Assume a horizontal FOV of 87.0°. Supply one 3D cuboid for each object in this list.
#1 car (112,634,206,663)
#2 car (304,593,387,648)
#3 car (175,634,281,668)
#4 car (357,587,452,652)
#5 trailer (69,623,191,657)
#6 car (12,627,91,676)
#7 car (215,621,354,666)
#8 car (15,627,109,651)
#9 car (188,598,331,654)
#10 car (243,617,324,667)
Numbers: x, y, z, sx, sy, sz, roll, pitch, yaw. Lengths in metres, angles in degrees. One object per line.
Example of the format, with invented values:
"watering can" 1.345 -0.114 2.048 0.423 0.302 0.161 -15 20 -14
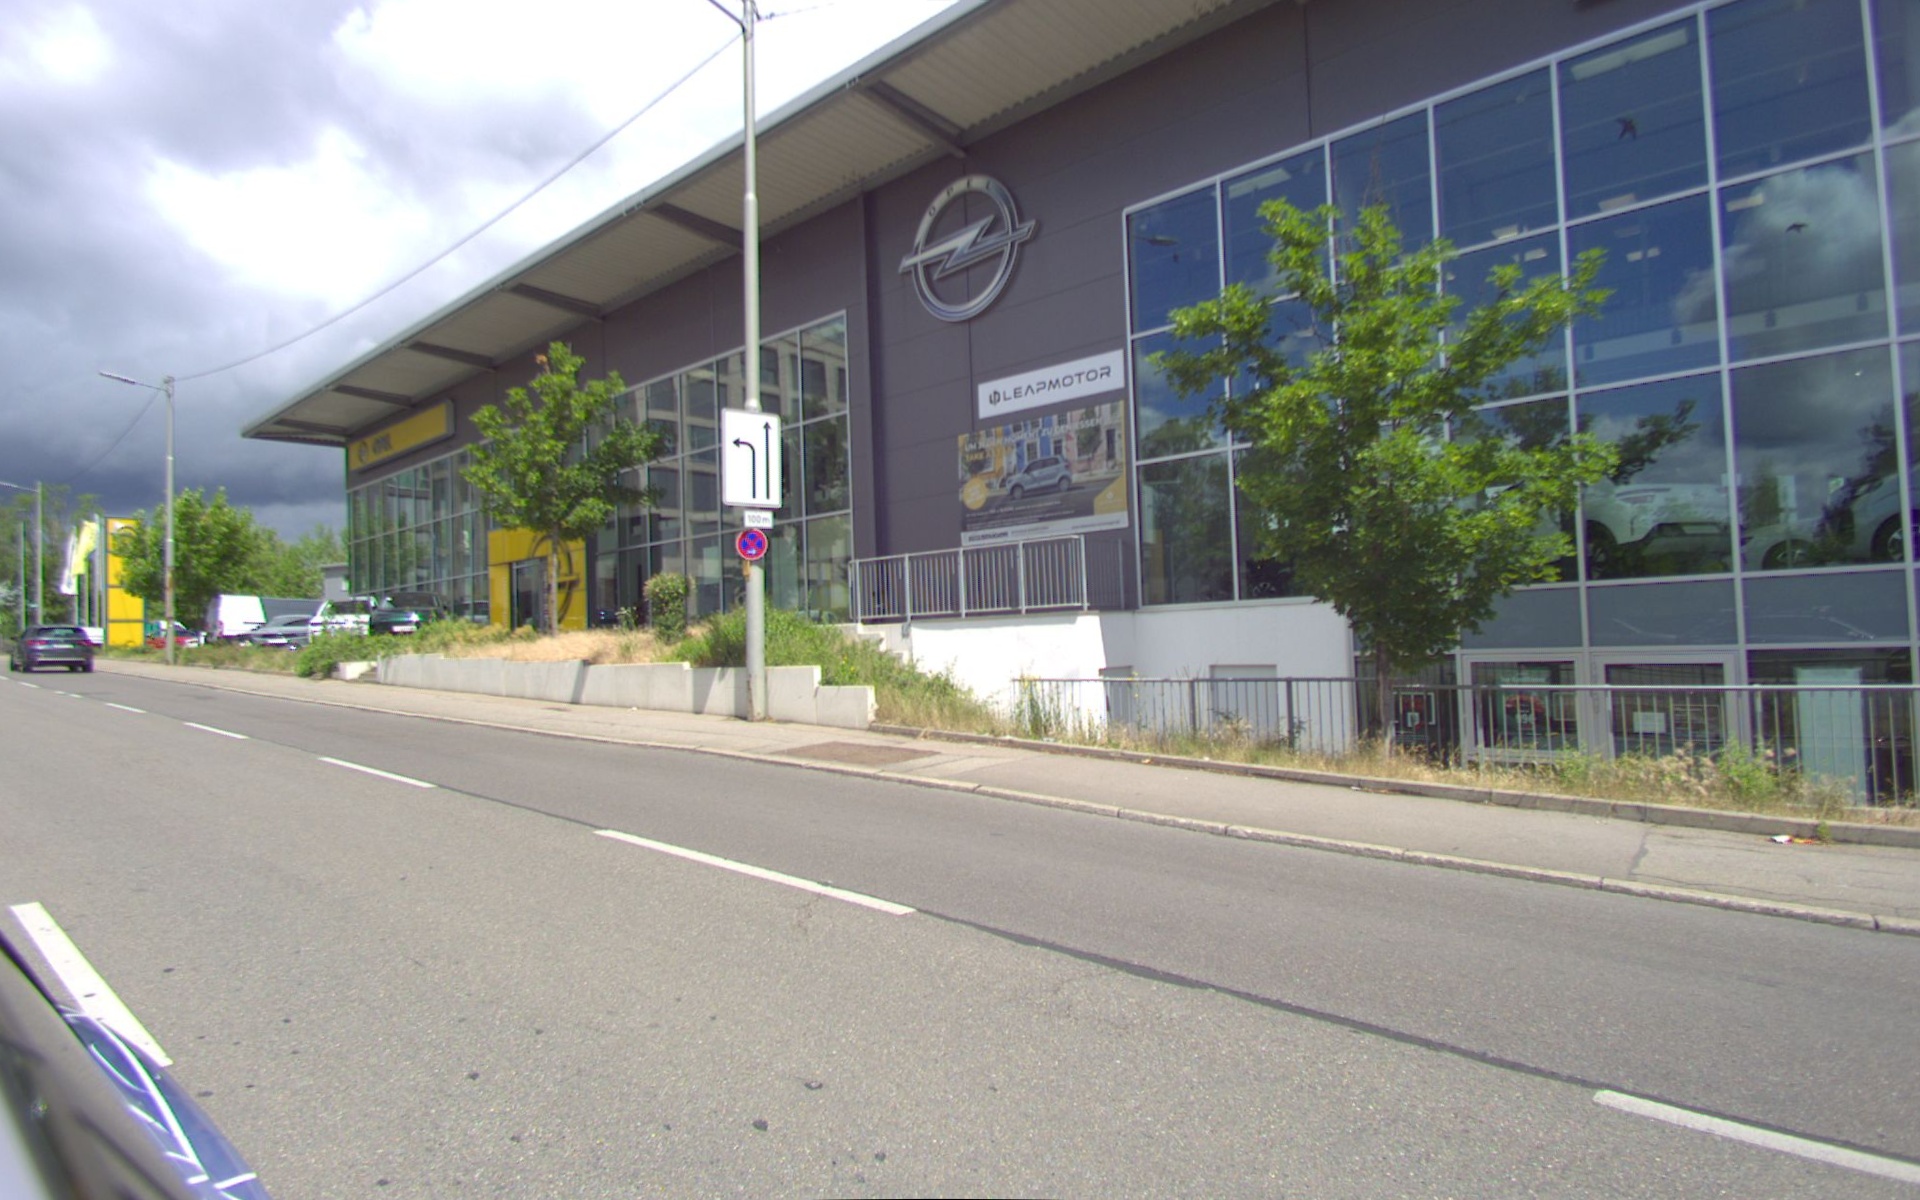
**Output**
"car" -42.016 2.526 53.119 1.814 1.420 3.621 -2 -2 42
"car" -19.273 0.639 31.883 1.767 1.625 4.122 0 -1 -25
"car" -35.523 2.446 49.182 1.559 1.539 3.897 -2 -2 38
"car" -15.726 0.572 28.842 1.790 1.625 4.122 -3 -1 -21
"trailer" -45.272 2.143 55.292 2.092 1.765 4.776 -2 -2 37
"car" -30.525 1.683 33.960 3.959 1.533 1.738 -1 -2 45
"car" -25.731 1.640 38.691 1.792 1.625 4.064 -2 -2 32
"car" -57.584 2.505 64.927 2.093 1.493 4.200 -2 -2 38
"car" -29.119 1.062 42.163 2.177 2.211 4.475 -1 -1 39
"car" -23.456 1.426 35.220 1.767 1.625 4.122 1 -2 -26
